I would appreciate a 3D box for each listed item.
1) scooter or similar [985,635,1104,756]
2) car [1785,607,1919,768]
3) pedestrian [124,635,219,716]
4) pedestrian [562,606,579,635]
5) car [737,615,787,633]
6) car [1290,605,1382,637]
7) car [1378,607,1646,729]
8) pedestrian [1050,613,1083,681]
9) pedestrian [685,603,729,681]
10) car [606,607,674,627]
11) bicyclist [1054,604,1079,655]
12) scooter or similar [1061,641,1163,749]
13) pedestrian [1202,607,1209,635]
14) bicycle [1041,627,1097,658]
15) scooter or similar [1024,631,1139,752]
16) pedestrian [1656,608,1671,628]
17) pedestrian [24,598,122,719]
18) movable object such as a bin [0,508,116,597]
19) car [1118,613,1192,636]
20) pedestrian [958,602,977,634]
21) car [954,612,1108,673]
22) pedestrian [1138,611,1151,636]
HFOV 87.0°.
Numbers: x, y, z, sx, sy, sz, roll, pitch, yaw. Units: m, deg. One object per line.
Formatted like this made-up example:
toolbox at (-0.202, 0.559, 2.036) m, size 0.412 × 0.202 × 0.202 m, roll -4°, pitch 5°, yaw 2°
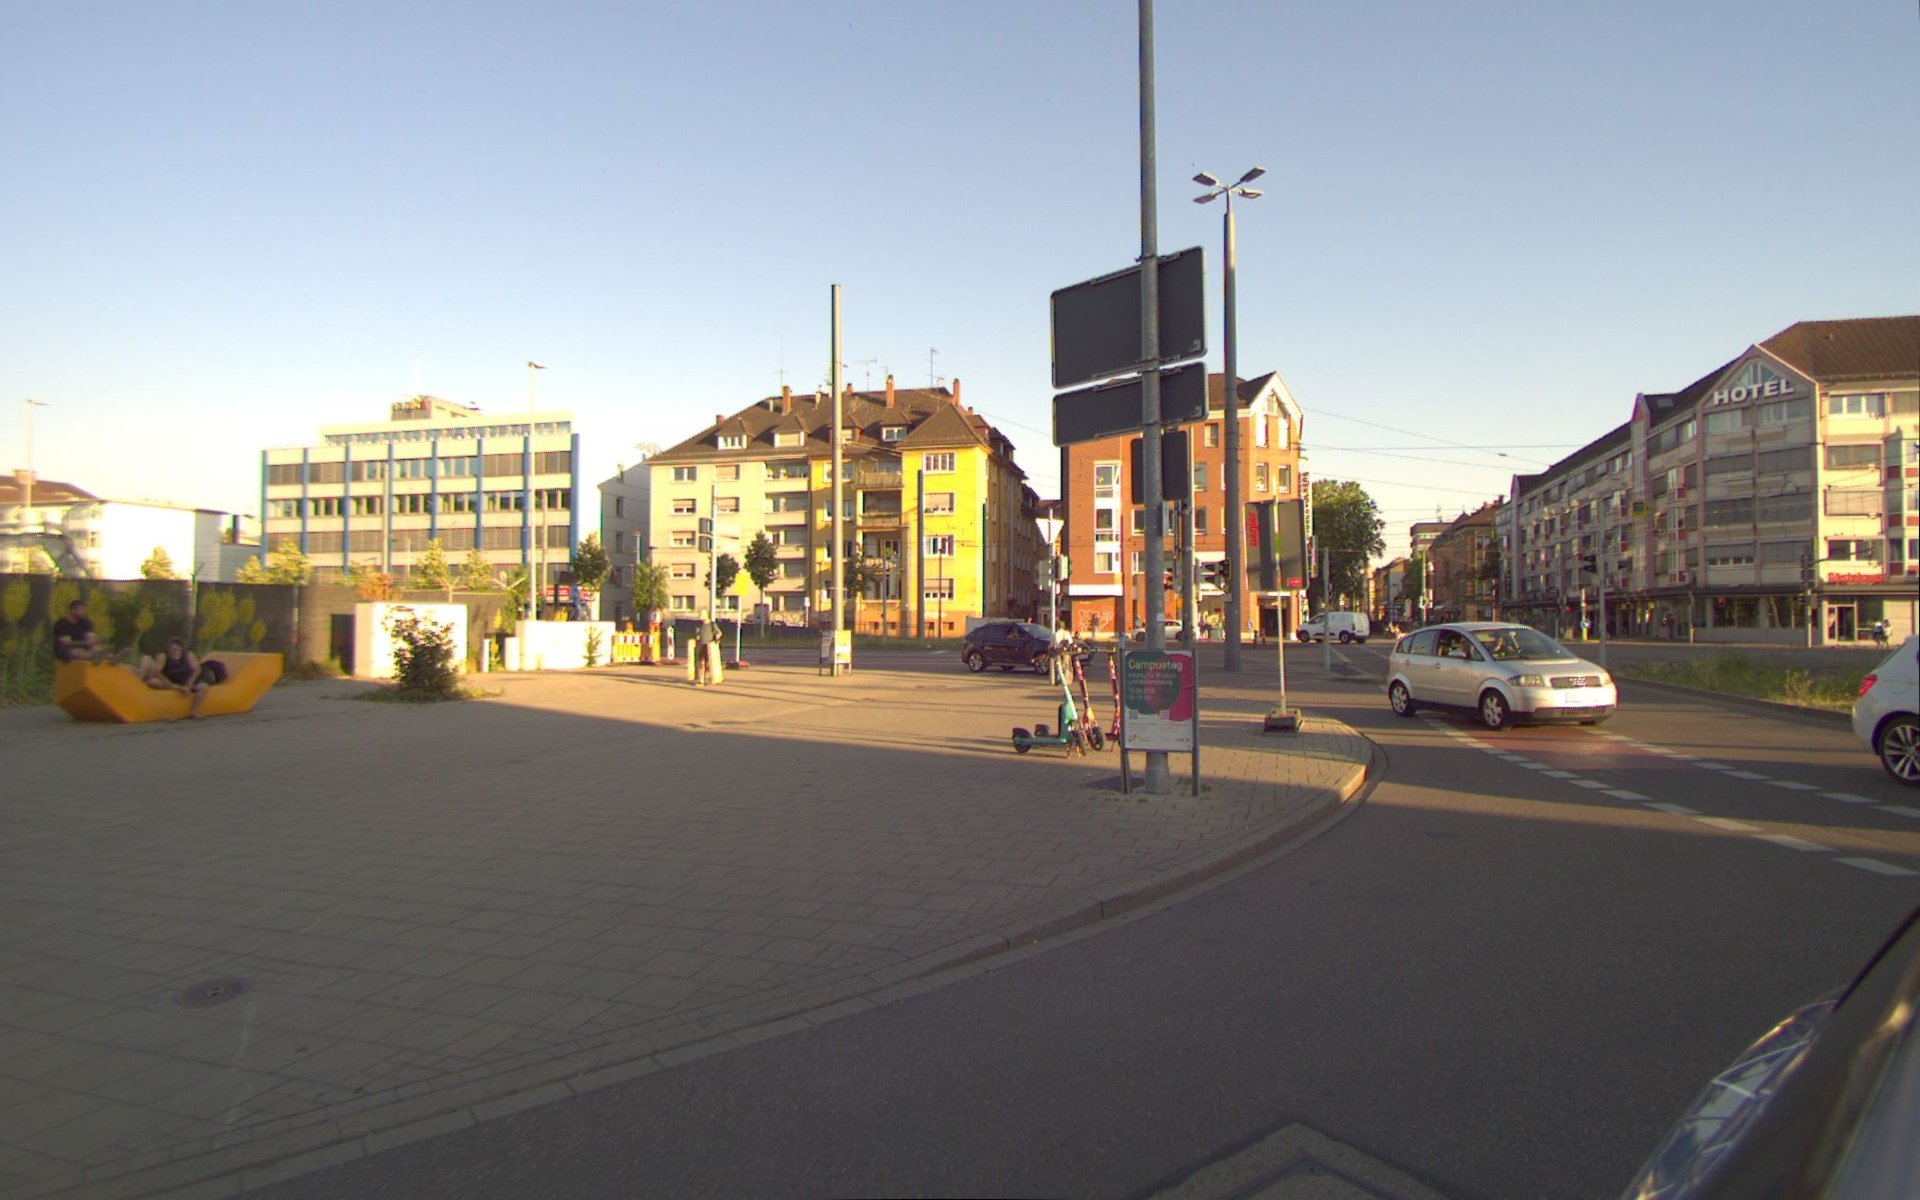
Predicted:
scooter or similar at (0.941, 1.055, 11.671) m, size 0.600 × 1.276 × 1.528 m, roll 0°, pitch -2°, yaw -29°
car at (9.434, 0.722, 8.199) m, size 1.880 × 1.424 × 4.301 m, roll -1°, pitch -3°, yaw 0°
pedestrian at (-11.962, 1.126, 15.366) m, size 0.978 × 1.172 × 0.730 m, roll -1°, pitch -1°, yaw 21°
pedestrian at (-21.550, 1.133, 55.972) m, size 0.681 × 1.611 × 0.562 m, roll 0°, pitch -1°, yaw 18°
car at (-15.589, 1.880, 79.652) m, size 3.490 × 1.438 × 1.732 m, roll 0°, pitch -1°, yaw 13°
car at (22.189, 1.234, 59.913) m, size 1.963 × 1.861 × 4.874 m, roll 1°, pitch -1°, yaw -35°
car at (8.227, 0.954, 15.511) m, size 1.647 × 1.581 × 3.731 m, roll -2°, pitch -1°, yaw -8°
pedestrian at (2.637, 1.146, 24.983) m, size 0.682 × 1.634 × 0.592 m, roll 0°, pitch -1°, yaw 23°
pedestrian at (-5.911, 0.960, 23.625) m, size 0.805 × 1.758 × 0.945 m, roll 1°, pitch -1°, yaw -27°
car at (-24.509, 1.309, 77.582) m, size 4.610 × 1.523 × 1.918 m, roll 0°, pitch -1°, yaw -2°
bicyclist at (3.647, 1.005, 34.627) m, size 0.737 × 1.692 × 0.593 m, roll -2°, pitch 0°, yaw 14°
scooter or similar at (1.820, 1.114, 12.256) m, size 0.452 × 1.181 × 1.405 m, roll 1°, pitch -1°, yaw -30°
pedestrian at (15.066, 1.282, 62.060) m, size 0.413 × 1.730 × 0.513 m, roll 0°, pitch -1°, yaw 14°
bicycle at (3.729, 1.439, 34.595) m, size 1.820 × 1.036 × 0.593 m, roll 0°, pitch -1°, yaw 15°
scooter or similar at (1.403, 1.032, 11.986) m, size 0.452 × 1.309 × 1.654 m, roll 0°, pitch -1°, yaw -29°
pedestrian at (56.110, 1.435, 80.704) m, size 0.697 × 1.568 × 0.902 m, roll 0°, pitch -1°, yaw 14°
pedestrian at (-12.736, 0.813, 14.539) m, size 0.812 × 1.686 × 0.759 m, roll 0°, pitch -1°, yaw 21°
movable object such as a bin at (-23.288, -1.122, 23.935) m, size 4.942 × 2.039 × 1.994 m, roll 1°, pitch -1°, yaw -45°
car at (12.991, 1.579, 67.448) m, size 4.518 × 1.467 × 1.800 m, roll 0°, pitch 0°, yaw 27°
pedestrian at (0.360, 0.877, 49.378) m, size 0.632 × 1.561 × 0.699 m, roll -1°, pitch -1°, yaw 32°
car at (2.073, 1.202, 30.179) m, size 4.375 × 1.638 × 1.914 m, roll 0°, pitch -1°, yaw 43°
pedestrian at (13.214, 1.675, 72.572) m, size 0.858 × 1.801 × 0.915 m, roll -1°, pitch -1°, yaw 9°
